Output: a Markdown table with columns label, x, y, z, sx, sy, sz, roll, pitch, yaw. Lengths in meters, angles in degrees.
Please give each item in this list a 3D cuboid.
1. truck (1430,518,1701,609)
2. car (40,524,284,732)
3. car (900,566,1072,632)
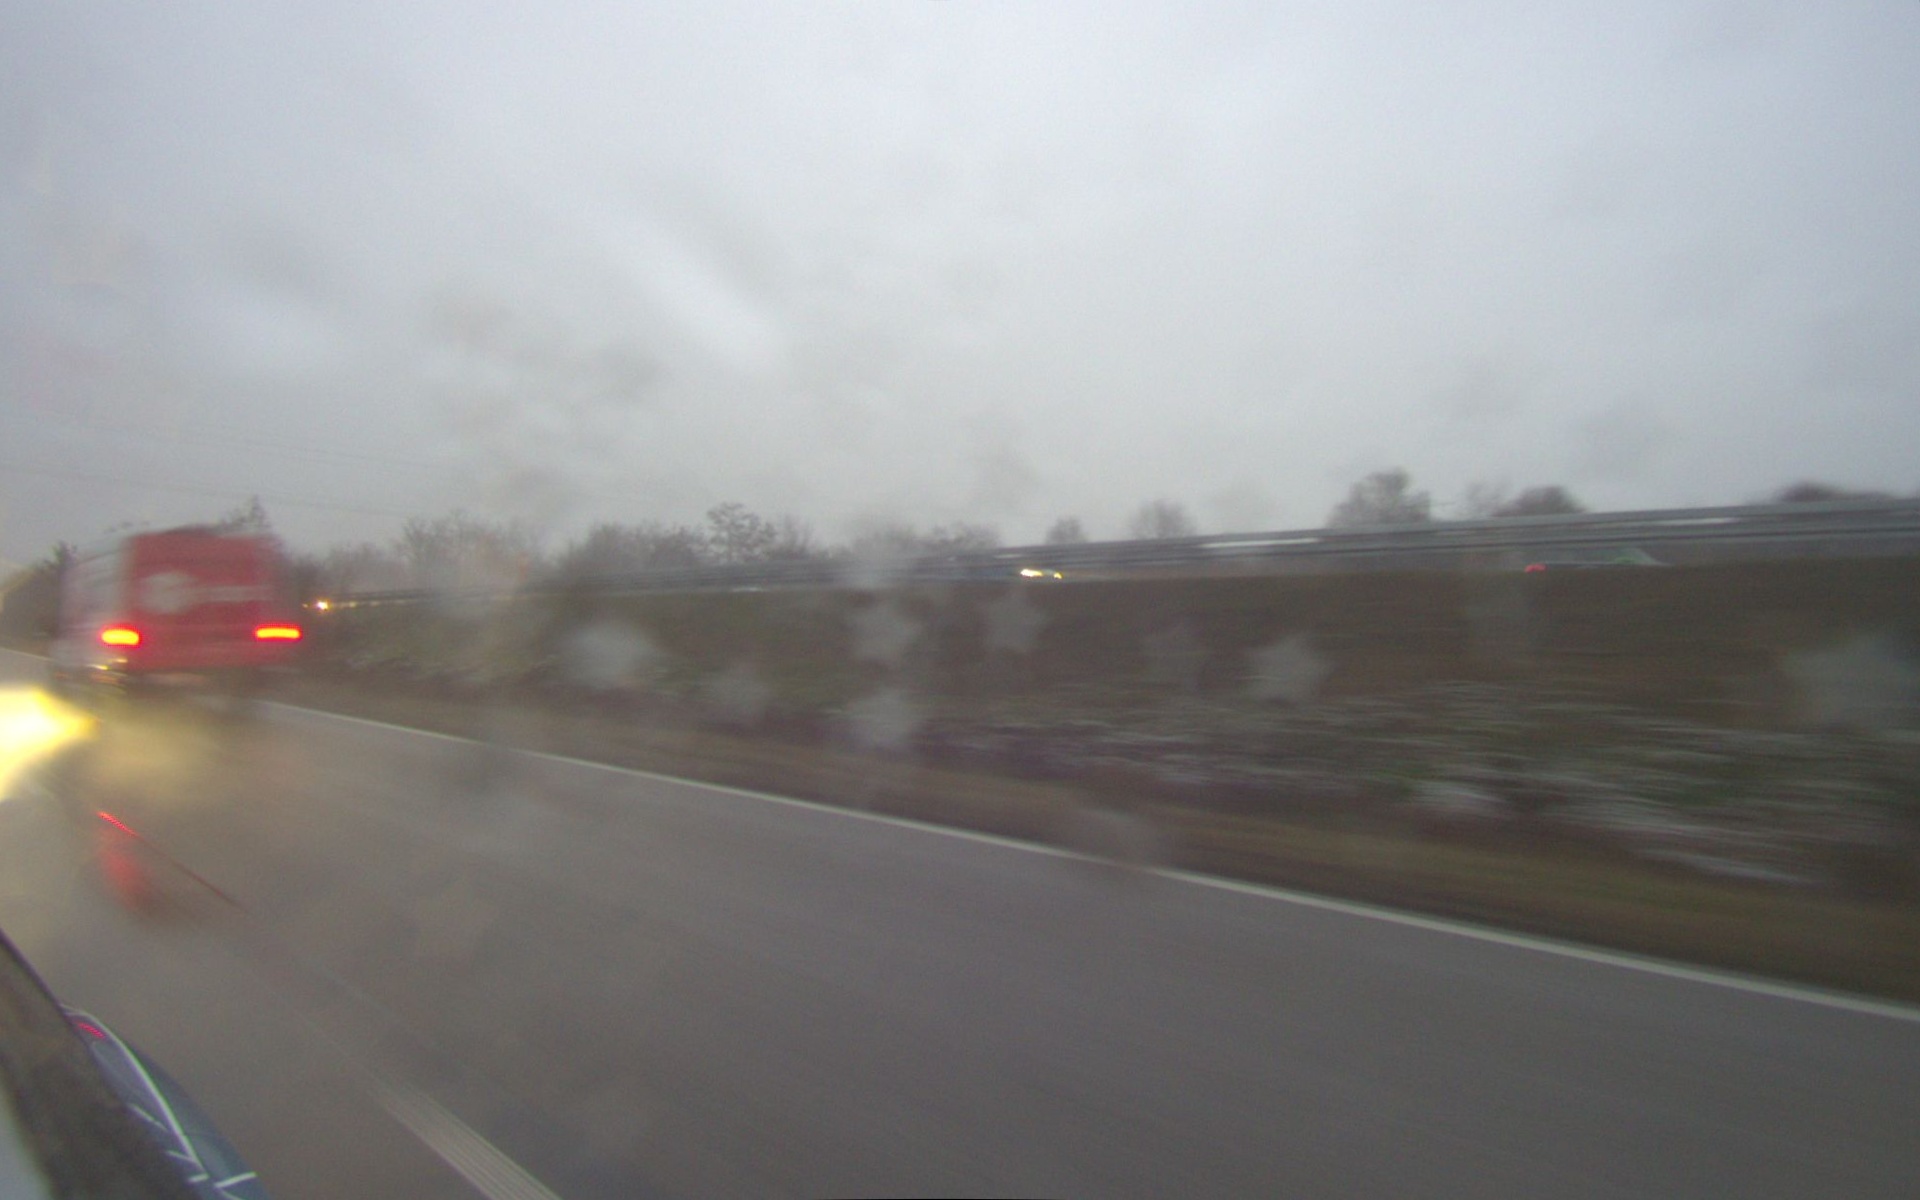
| label | x | y | z | sx | sy | sz | roll | pitch | yaw |
| --- | --- | --- | --- | --- | --- | --- | --- | --- | --- |
| truck | 15.230 | -0.824 | 25.674 | 5.601 | 2.029 | 2.288 | -1 | 0 | 41 |
| car | -12.696 | 0.417 | 15.894 | 6.268 | 2.695 | 1.932 | -2 | -1 | 42 |
| car | 0.786 | 0.006 | 33.764 | 5.601 | 2.029 | 2.288 | -1 | 0 | 41 |
